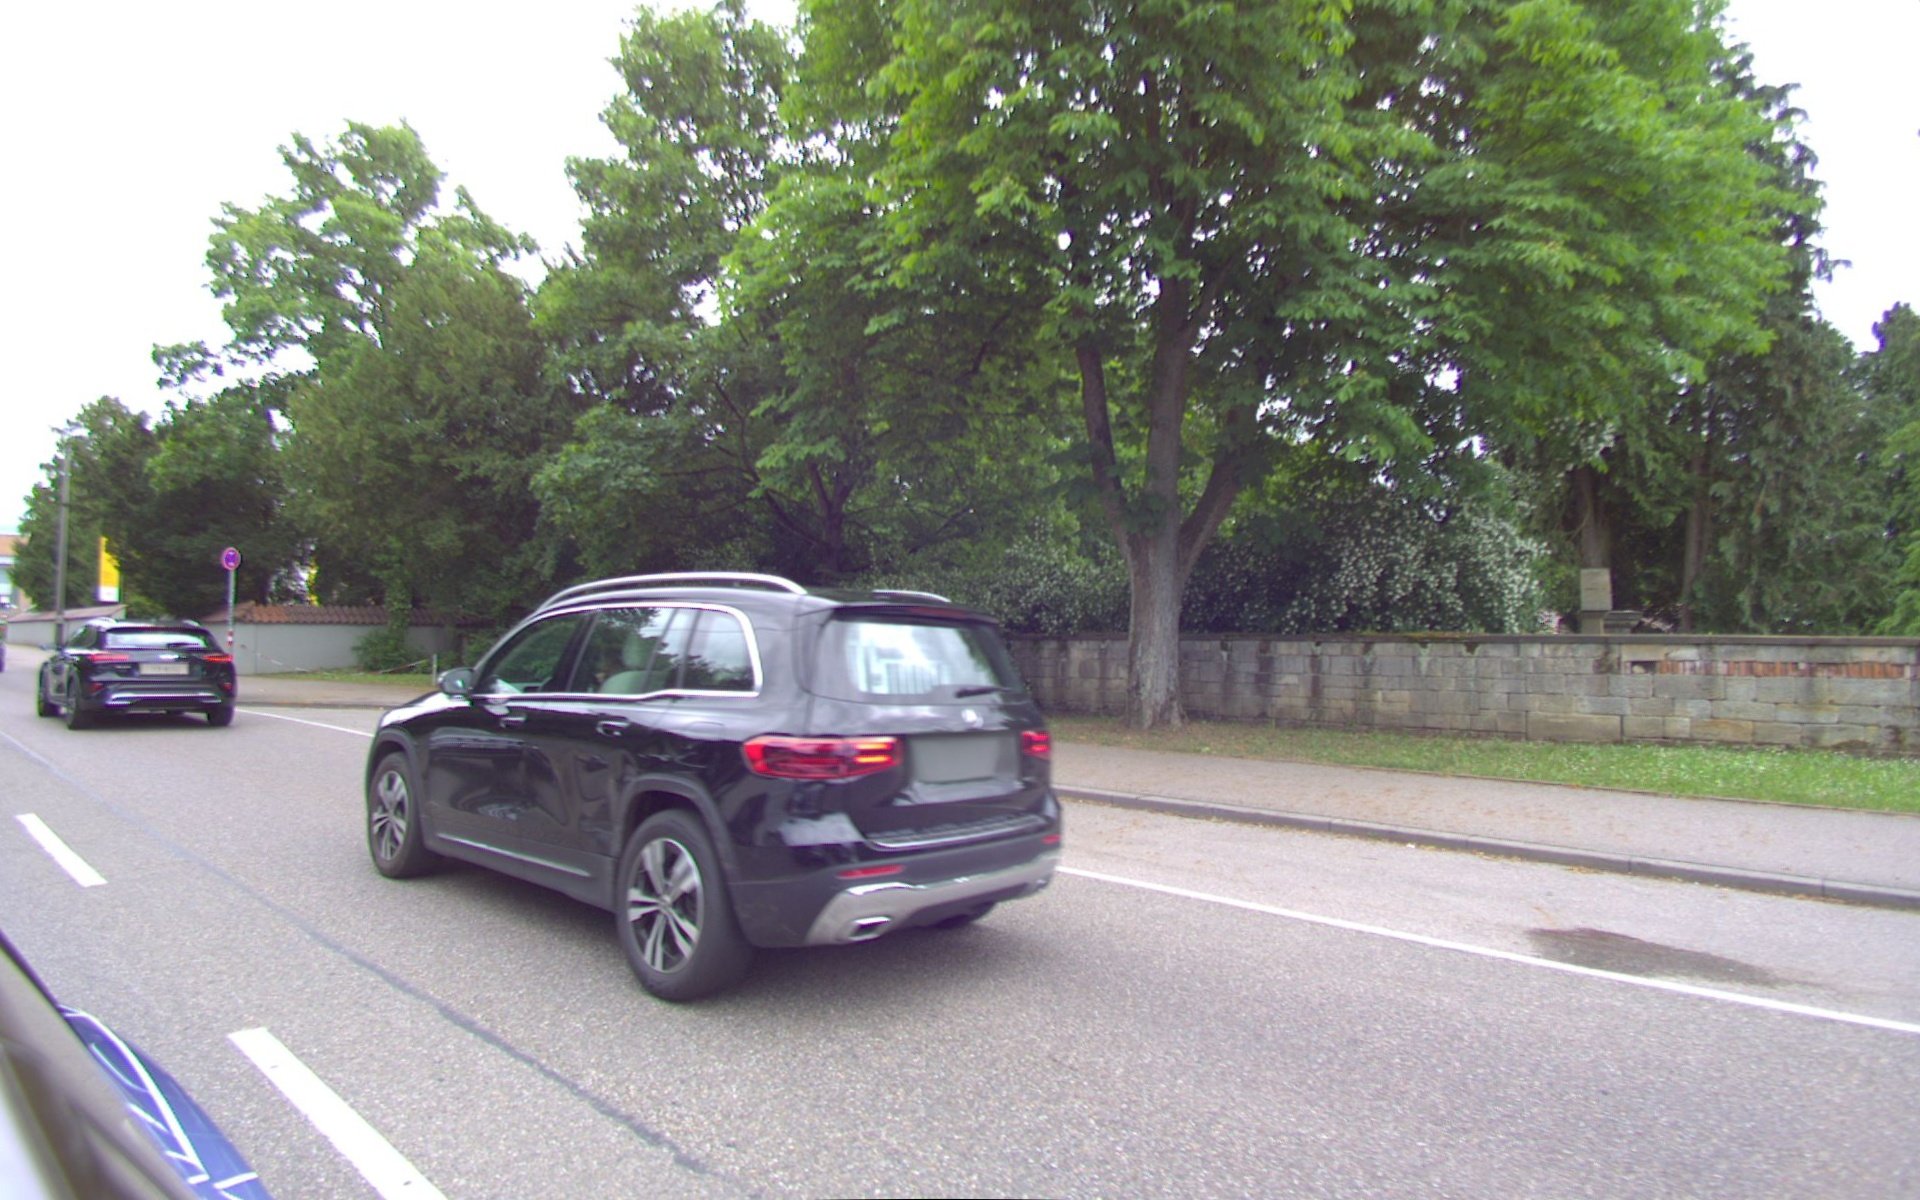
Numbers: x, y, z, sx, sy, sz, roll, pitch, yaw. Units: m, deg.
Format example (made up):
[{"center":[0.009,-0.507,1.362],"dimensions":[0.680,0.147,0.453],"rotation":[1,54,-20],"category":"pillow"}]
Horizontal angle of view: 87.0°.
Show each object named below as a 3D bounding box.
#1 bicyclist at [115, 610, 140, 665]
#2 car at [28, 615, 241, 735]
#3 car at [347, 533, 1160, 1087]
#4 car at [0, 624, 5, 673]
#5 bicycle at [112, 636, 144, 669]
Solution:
[{"center":[-26.025,1.163,31.641],"dimensions":[0.588,1.697,0.482],"rotation":[-1,1,41],"category":"bicyclist"},{"center":[-11.998,1.012,14.622],"dimensions":[3.998,1.495,1.683],"rotation":[-1,-4,41],"category":"car"},{"center":[-1.289,0.704,5.123],"dimensions":[4.125,1.657,1.860],"rotation":[-1,-4,41],"category":"car"},{"center":[-29.853,1.358,29.917],"dimensions":[4.410,1.414,1.739],"rotation":[-1,-4,39],"category":"car"},{"center":[-26.050,1.632,31.681],"dimensions":[1.747,0.971,0.490],"rotation":[-1,1,41],"category":"bicycle"}]
